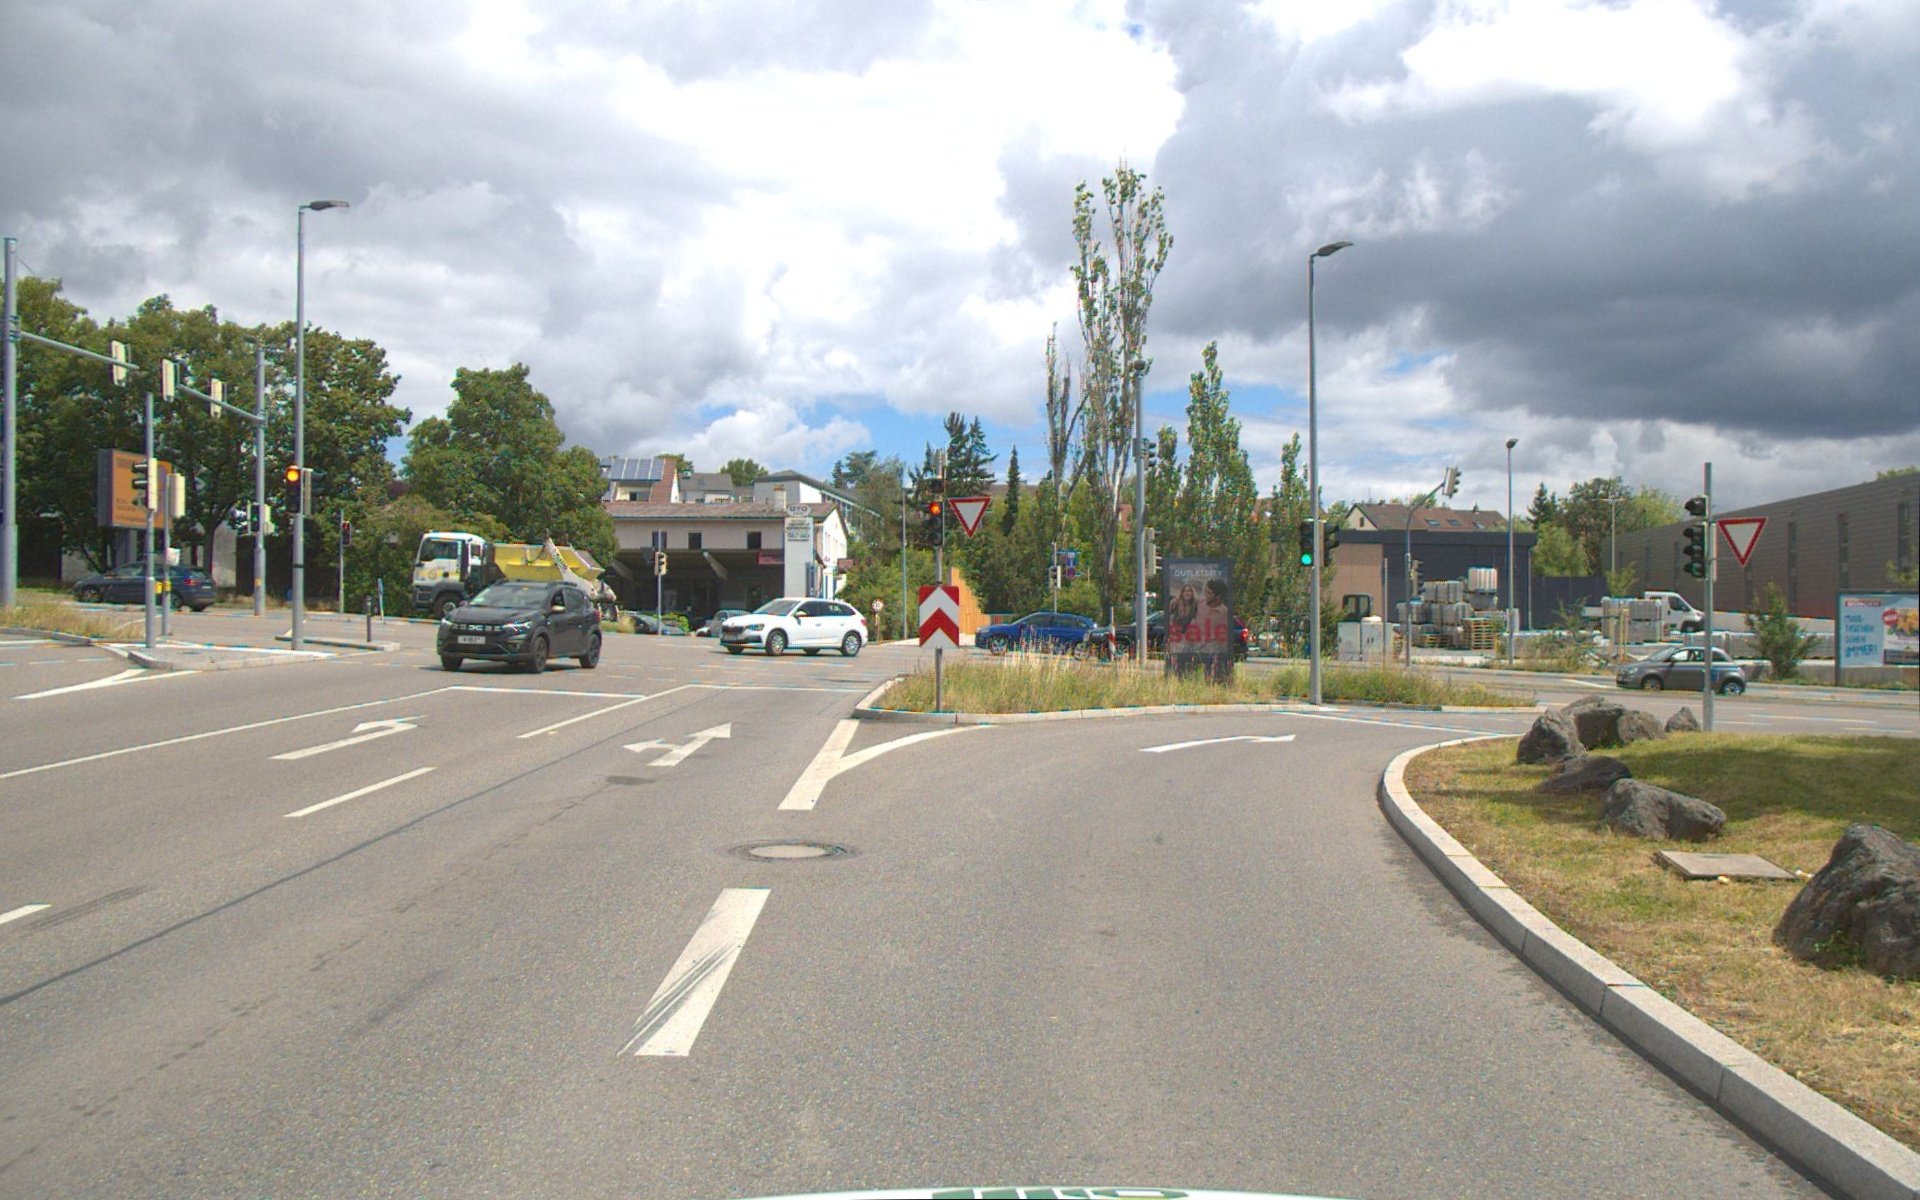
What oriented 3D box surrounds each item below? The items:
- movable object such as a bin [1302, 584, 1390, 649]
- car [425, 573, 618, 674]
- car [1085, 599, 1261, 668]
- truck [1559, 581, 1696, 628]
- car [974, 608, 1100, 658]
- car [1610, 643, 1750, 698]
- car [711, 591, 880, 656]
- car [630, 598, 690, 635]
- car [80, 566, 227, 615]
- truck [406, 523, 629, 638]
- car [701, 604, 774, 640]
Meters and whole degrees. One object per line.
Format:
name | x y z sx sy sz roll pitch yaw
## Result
movable object such as a bin | 16.563 0.709 70.858 3.334 2.582 2.153 2 -1 21
car | -7.698 0.384 29.439 1.747 1.605 4.168 2 0 9
car | 6.221 0.962 48.733 4.865 1.719 1.911 3 0 0
truck | 34.763 0.269 86.354 6.421 2.183 2.001 -2 -1 18
car | 2.450 1.040 52.713 3.904 1.425 1.697 2 -1 2
car | 21.042 2.065 48.445 3.438 1.486 1.587 -1 0 7
car | -4.197 0.631 42.659 1.594 1.495 4.350 3 0 43
car | -14.713 0.797 81.024 1.716 1.680 3.818 2 0 -29
car | -26.265 -0.304 53.950 3.904 1.425 1.697 2 -1 2
truck | -15.229 -0.639 57.257 6.800 3.641 2.847 -2 -1 2
car | -9.801 0.965 72.563 1.675 1.425 3.956 2 -1 -32
